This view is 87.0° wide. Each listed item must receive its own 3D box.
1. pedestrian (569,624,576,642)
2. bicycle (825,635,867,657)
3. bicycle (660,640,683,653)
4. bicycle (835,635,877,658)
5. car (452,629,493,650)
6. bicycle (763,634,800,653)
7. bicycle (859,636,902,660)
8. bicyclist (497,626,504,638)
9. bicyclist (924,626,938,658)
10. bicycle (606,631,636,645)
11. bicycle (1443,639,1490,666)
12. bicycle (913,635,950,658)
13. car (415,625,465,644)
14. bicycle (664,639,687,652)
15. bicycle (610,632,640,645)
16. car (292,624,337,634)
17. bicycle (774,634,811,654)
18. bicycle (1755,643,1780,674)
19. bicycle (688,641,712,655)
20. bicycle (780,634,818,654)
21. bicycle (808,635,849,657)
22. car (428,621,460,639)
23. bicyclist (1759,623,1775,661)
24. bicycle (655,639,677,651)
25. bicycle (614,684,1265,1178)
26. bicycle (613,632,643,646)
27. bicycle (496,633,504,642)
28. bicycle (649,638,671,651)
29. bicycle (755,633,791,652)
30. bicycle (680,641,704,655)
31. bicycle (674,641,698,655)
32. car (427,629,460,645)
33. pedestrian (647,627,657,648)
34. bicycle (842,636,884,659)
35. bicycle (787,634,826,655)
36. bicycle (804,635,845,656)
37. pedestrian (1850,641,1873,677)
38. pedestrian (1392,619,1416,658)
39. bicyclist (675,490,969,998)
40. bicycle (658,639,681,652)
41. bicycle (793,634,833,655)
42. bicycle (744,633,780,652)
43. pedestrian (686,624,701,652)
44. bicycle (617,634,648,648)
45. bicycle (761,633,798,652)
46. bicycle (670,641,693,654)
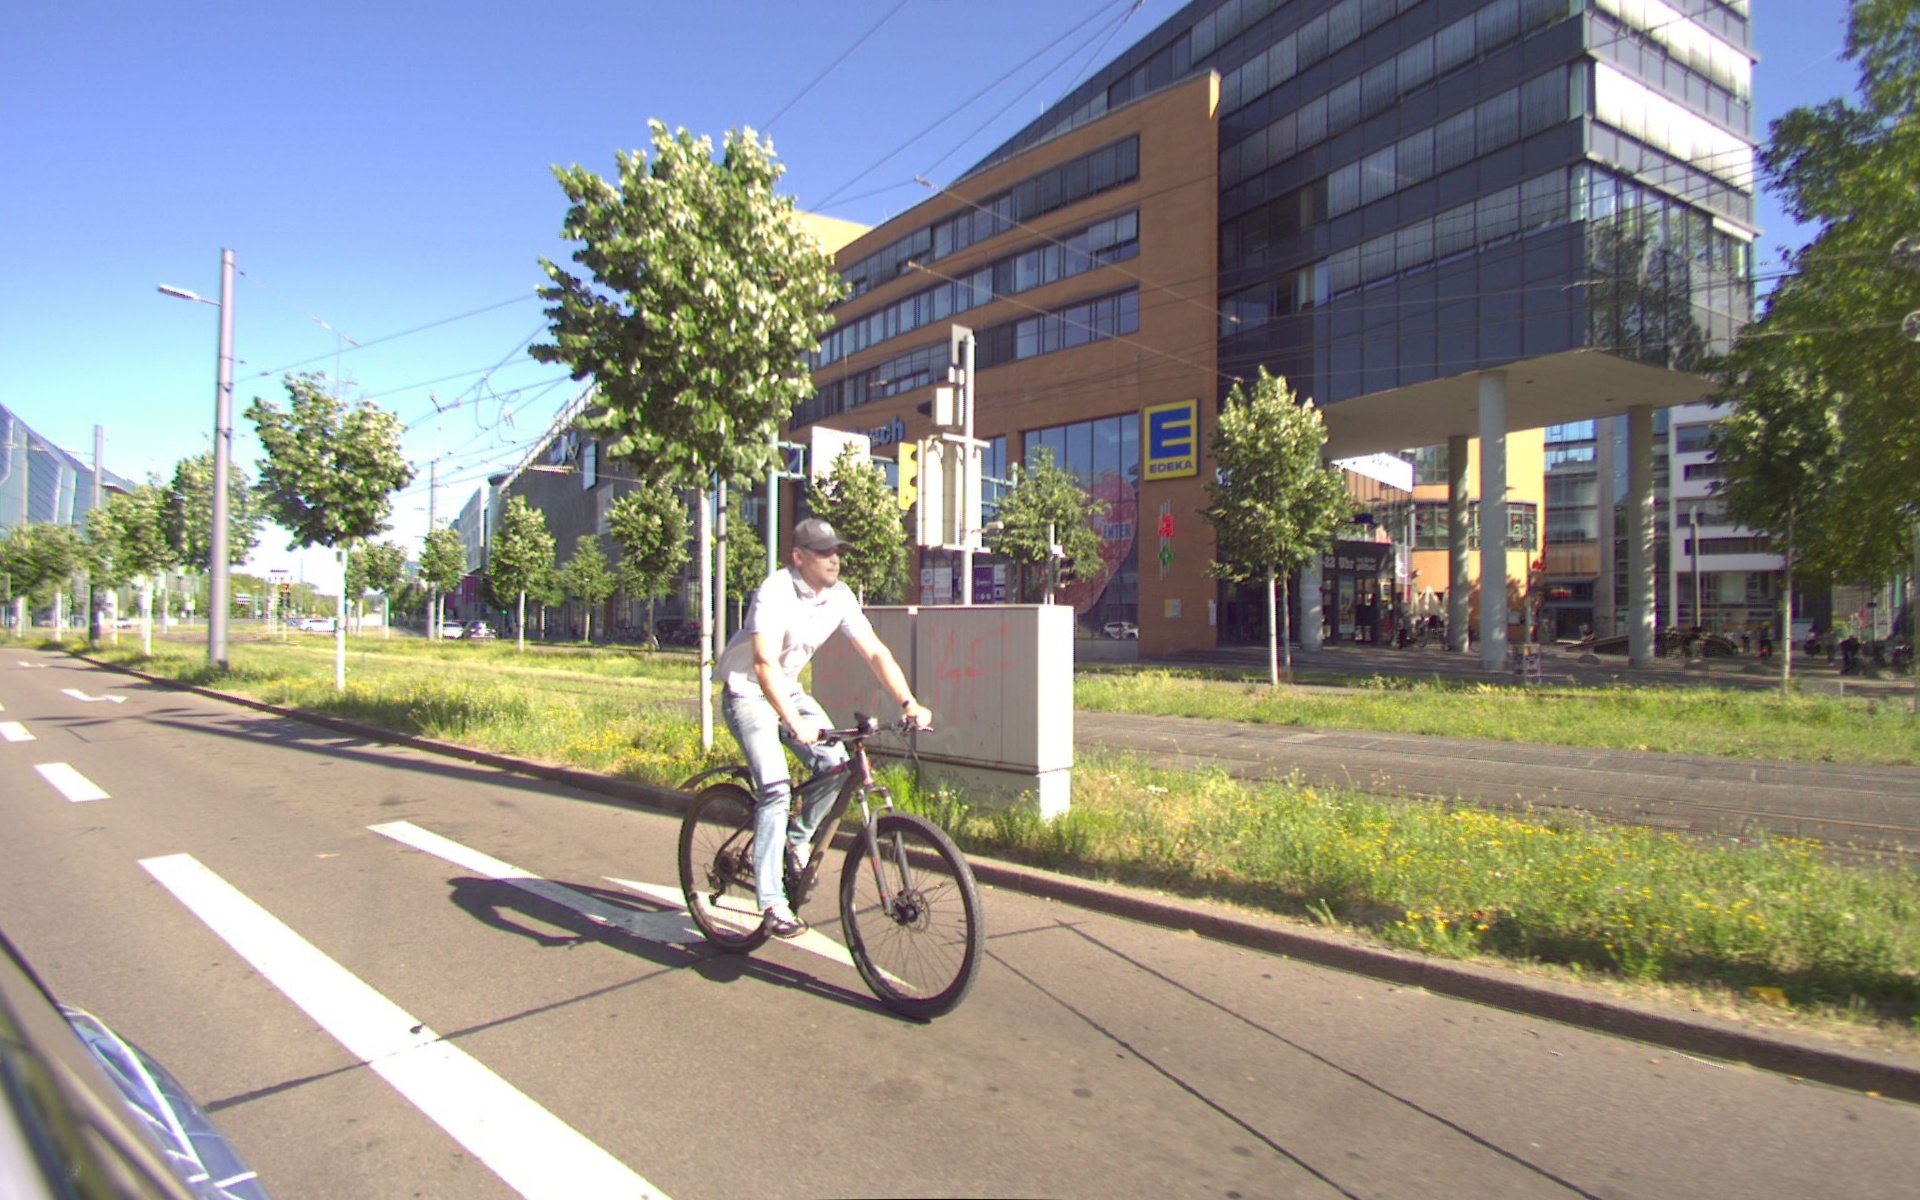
[{"bbox_3d":[-33.563,2.834,87.615,0.482,1.530,0.651,1,-2,-27],"label":"pedestrian"},{"bbox_3d":[-6.182,2.501,54.869,2.145,1.132,0.755,0,-1,-38],"label":"bicycle"},{"bbox_3d":[-19.627,3.145,68.788,1.427,0.825,0.446,0,-1,-38],"label":"bicycle"},{"bbox_3d":[-5.561,2.484,54.056,2.145,1.132,0.755,0,-1,-38],"label":"bicycle"},{"bbox_3d":[-31.673,2.550,65.778,1.411,1.370,3.298,2,-2,-44],"label":"car"},{"bbox_3d":[-10.937,2.644,61.978,2.145,1.132,0.755,0,-1,-38],"label":"bicycle"},{"bbox_3d":[-4.056,2.450,51.721,2.145,1.132,0.755,0,-1,-38],"label":"bicycle"},{"bbox_3d":[-52.658,3.690,115.967,0.583,1.418,1.316,1,-2,-31],"label":"bicyclist"},{"bbox_3d":[-1.261,1.858,44.583,0.482,1.387,0.337,1,-1,42],"label":"bicyclist"},{"bbox_3d":[-26.076,2.923,77.810,2.145,0.962,0.494,0,-1,-38],"label":"bicycle"},{"bbox_3d":[22.523,2.329,44.992,1.803,1.143,0.487,-1,-2,43],"label":"bicycle"},{"bbox_3d":[-1.271,2.020,44.590,1.895,0.933,0.349,1,-1,42],"label":"bicycle"},{"bbox_3d":[-38.385,2.553,74.605,1.970,1.344,4.793,2,-2,-44],"label":"car"},{"bbox_3d":[-19.162,3.055,68.089,1.427,0.825,0.446,0,-1,-38],"label":"bicycle"},{"bbox_3d":[-25.623,2.963,77.356,2.145,0.962,0.494,0,-1,-38],"label":"bicycle"},{"bbox_3d":[-68.456,3.096,107.419,3.931,1.098,2.006,1,-2,-29],"label":"car"},{"bbox_3d":[-10.046,2.633,60.738,2.145,1.132,0.755,0,-1,-38],"label":"bicycle"},{"bbox_3d":[36.918,2.653,46.300,0.464,1.363,2.348,-1,-2,29],"label":"bicycle"},{"bbox_3d":[-16.776,3.096,65.299,1.427,0.825,0.446,0,-1,-38],"label":"bicycle"},{"bbox_3d":[-9.521,2.613,59.868,2.145,1.132,0.755,0,-1,-38],"label":"bicycle"},{"bbox_3d":[-7.242,2.521,55.773,2.145,1.132,0.755,0,-1,-38],"label":"bicycle"},{"bbox_3d":[-62.724,3.633,123.105,2.191,2.029,5.268,1,-1,-11],"label":"car"},{"bbox_3d":[36.923,1.922,46.302,0.464,1.734,0.480,-1,-2,29],"label":"bicyclist"},{"bbox_3d":[-20.475,3.139,70.567,1.427,0.825,0.446,0,-1,-38],"label":"bicycle"},{"bbox_3d":[-0.298,0.929,3.724,2.698,1.078,0.679,-1,-1,44],"label":"bicycle"},{"bbox_3d":[-25.232,2.957,76.932,2.145,0.962,0.494,0,-1,-38],"label":"bicycle"},{"bbox_3d":[-52.796,4.272,116.176,0.588,1.018,2.576,1,-2,-31],"label":"bicycle"},{"bbox_3d":[-21.068,3.130,71.095,1.427,0.825,0.446,0,-1,-38],"label":"bicycle"},{"bbox_3d":[-11.814,2.678,63.980,2.145,1.132,0.755,0,-1,-38],"label":"bicycle"},{"bbox_3d":[-17.478,3.112,65.954,1.427,0.825,0.446,0,-1,-38],"label":"bicycle"},{"bbox_3d":[-18.038,3.151,66.637,1.427,0.825,0.446,0,-1,-38],"label":"bicycle"},{"bbox_3d":[-54.911,3.921,107.535,1.969,1.694,4.544,2,-2,-41],"label":"car"},{"bbox_3d":[-23.085,2.805,75.934,0.626,1.565,0.664,1,-2,-26],"label":"pedestrian"},{"bbox_3d":[-5.090,2.469,53.227,2.145,1.132,0.755,0,-1,-38],"label":"bicycle"},{"bbox_3d":[-8.936,2.590,59.003,2.145,1.132,0.755,0,-1,-38],"label":"bicycle"},{"bbox_3d":[-7.571,2.537,56.609,2.145,1.132,0.755,0,-1,-38],"label":"bicycle"},{"bbox_3d":[32.689,2.129,36.691,0.546,1.303,0.424,-1,-2,34],"label":"pedestrian"},{"bbox_3d":[19.127,1.641,43.592,0.788,1.636,0.500,1,-1,43],"label":"pedestrian"},{"bbox_3d":[-0.557,0.480,3.929,1.020,1.682,0.611,-1,-1,44],"label":"bicyclist"},{"bbox_3d":[-20.130,3.144,70.152,1.427,0.825,0.446,0,-1,-38],"label":"bicycle"},{"bbox_3d":[-8.441,2.560,58.221,2.145,1.132,0.755,0,-1,-38],"label":"bicycle"},{"bbox_3d":[-12.630,2.706,64.704,2.145,1.132,0.755,0,-1,-38],"label":"bicycle"},{"bbox_3d":[-16.826,2.399,63.989,0.779,1.698,0.588,-1,-2,45],"label":"pedestrian"},{"bbox_3d":[-24.644,3.073,76.134,2.145,0.962,0.494,0,-1,-38],"label":"bicycle"},{"bbox_3d":[-11.258,2.644,63.051,2.145,1.132,0.755,0,-1,-38],"label":"bicycle"},{"bbox_3d":[-18.434,3.158,67.006,1.427,0.825,0.446,0,-1,-38],"label":"bicycle"}]
